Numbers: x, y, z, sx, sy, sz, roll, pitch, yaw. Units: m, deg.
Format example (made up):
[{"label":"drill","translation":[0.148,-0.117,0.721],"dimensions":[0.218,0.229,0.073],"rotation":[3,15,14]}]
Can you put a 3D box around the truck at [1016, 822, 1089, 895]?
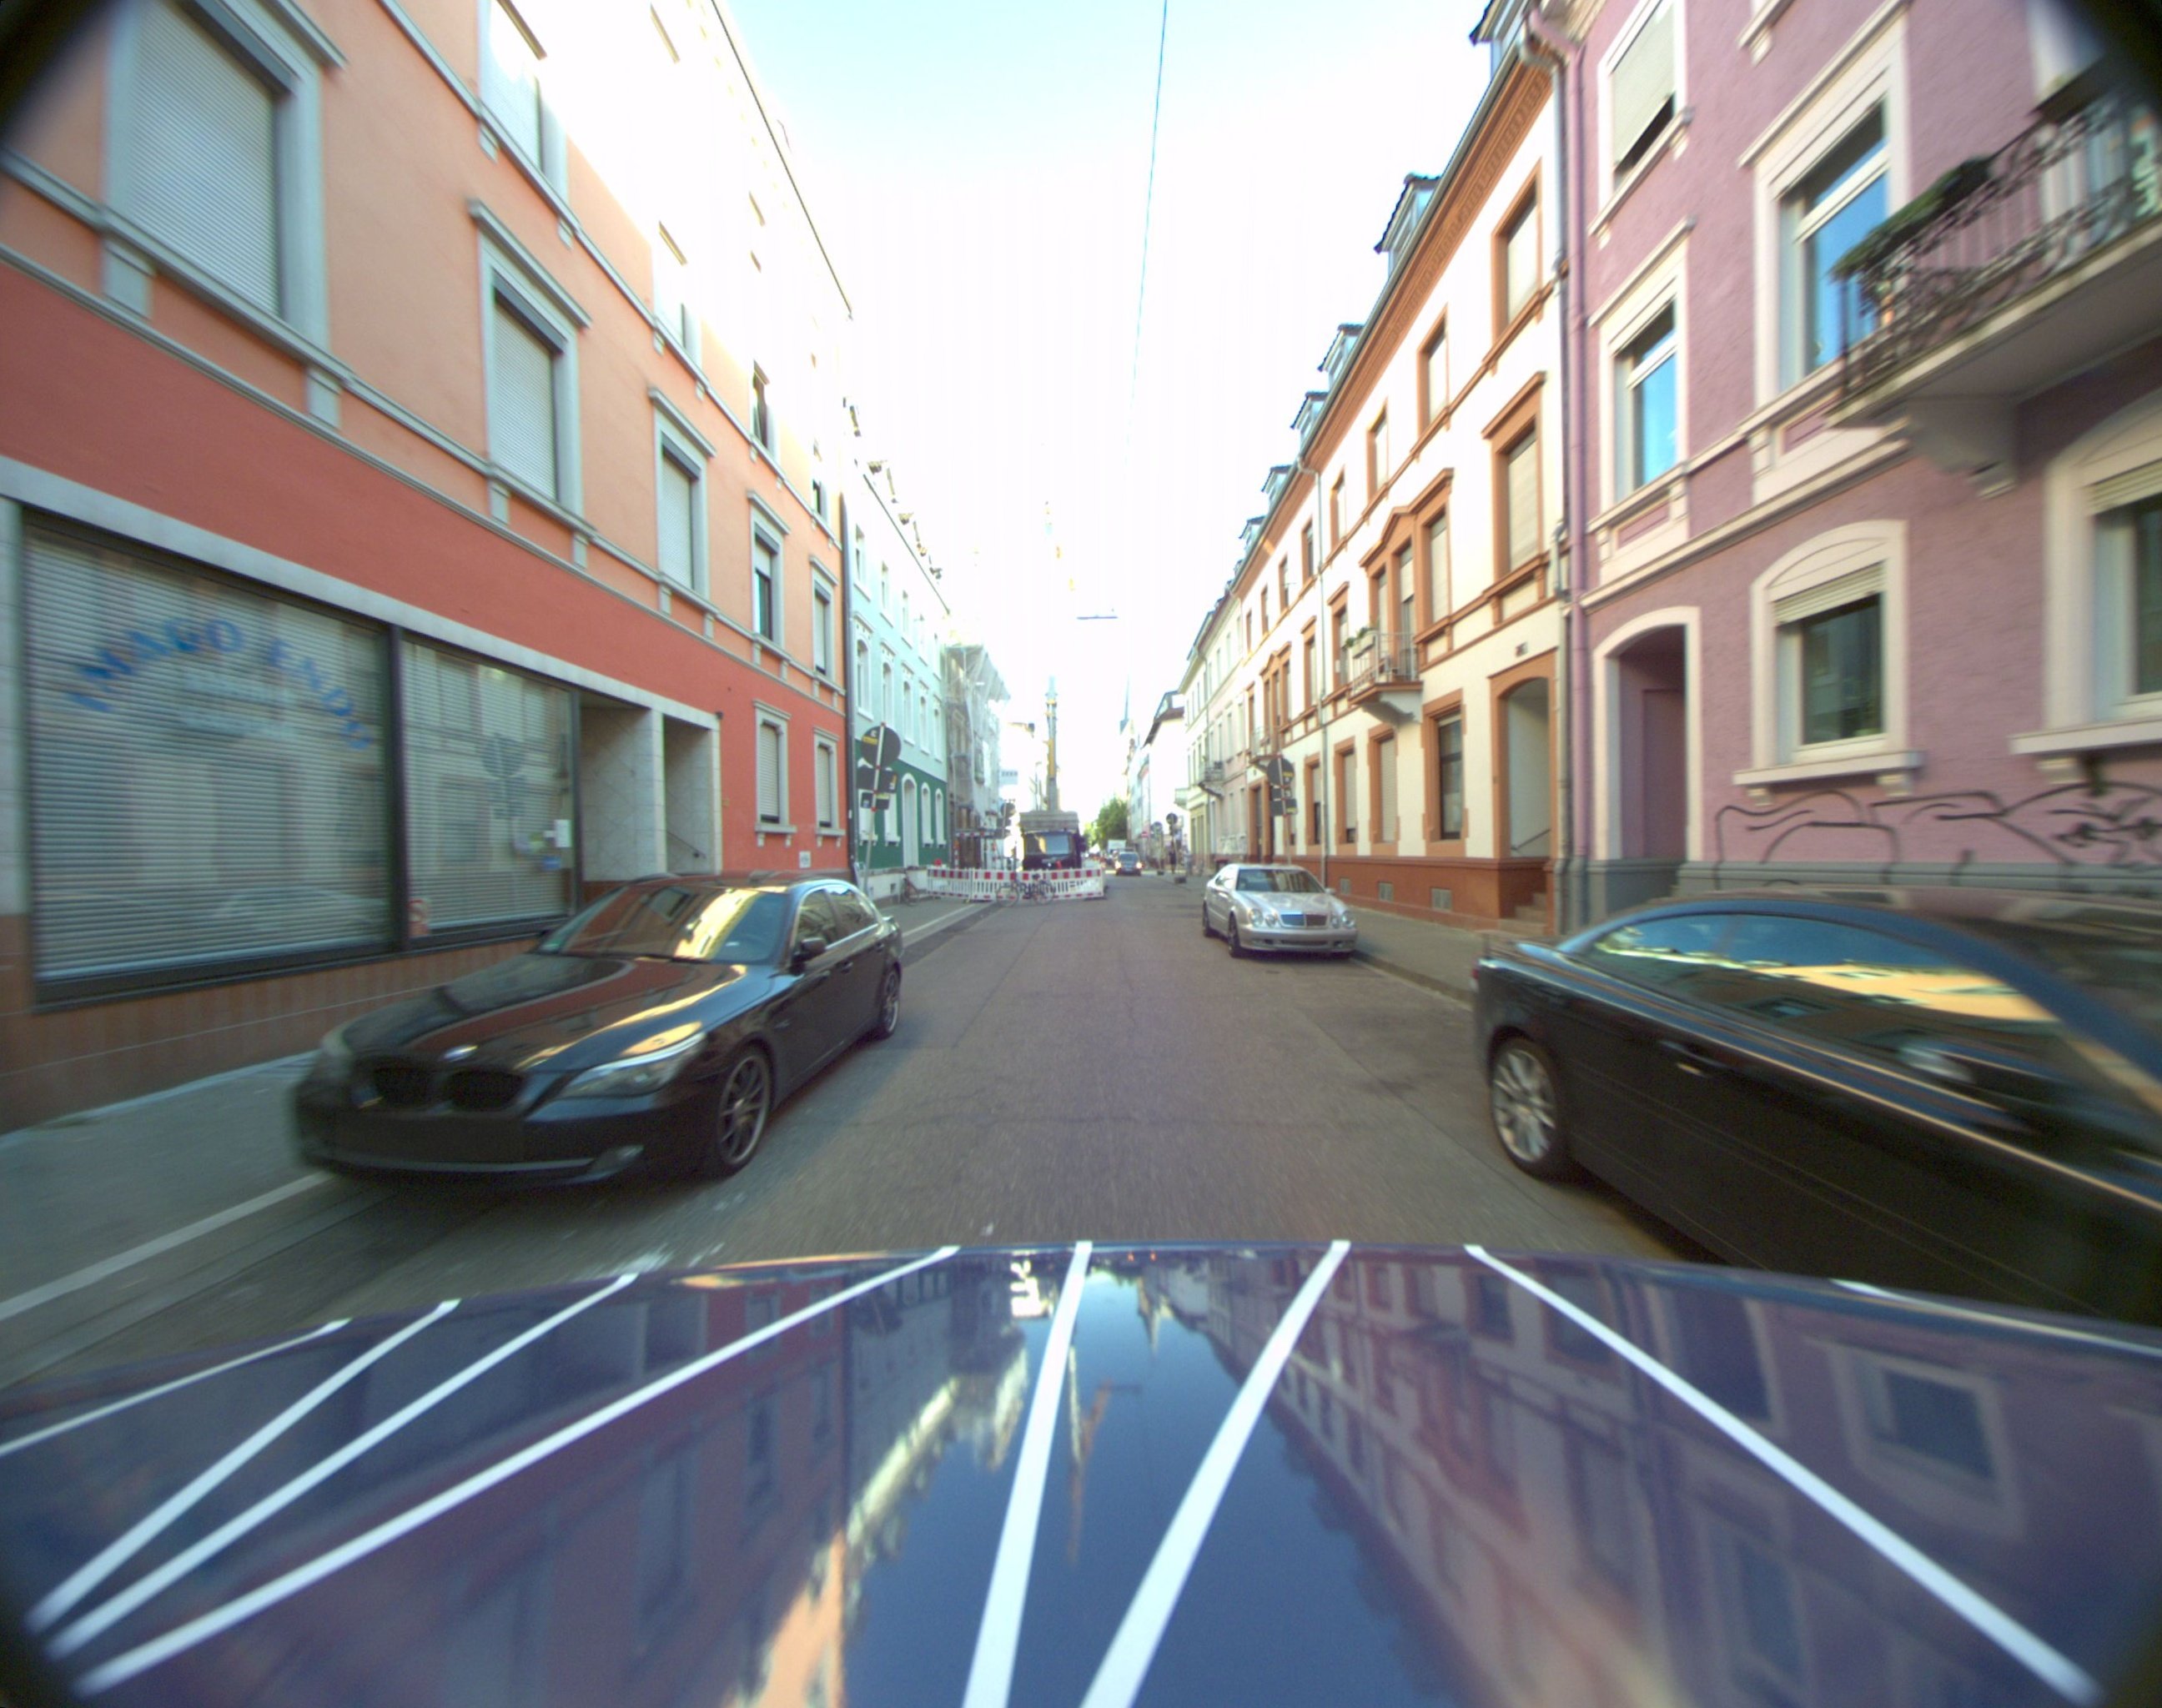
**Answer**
[{"label":"truck","translation":[-1.083,0.120,33.730],"dimensions":[2.668,2.798,7.392],"rotation":[-2,1,2]}]

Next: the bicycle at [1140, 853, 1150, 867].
[{"label":"bicycle","translation":[5.469,0.467,64.741],"dimensions":[0.578,1.132,1.460],"rotation":[-2,1,-4]}]

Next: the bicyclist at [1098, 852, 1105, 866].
[{"label":"bicyclist","translation":[2.196,0.549,83.207],"dimensions":[0.710,1.427,0.790],"rotation":[-1,1,3]}]

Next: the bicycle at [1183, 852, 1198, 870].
[{"label":"bicycle","translation":[6.866,0.458,47.650],"dimensions":[0.605,1.016,1.818],"rotation":[-5,1,2]}]

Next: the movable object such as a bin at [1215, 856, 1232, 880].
[{"label":"movable object such as a bin","translation":[6.412,0.621,34.208],"dimensions":[0.607,1.029,0.596],"rotation":[-2,1,0]}]

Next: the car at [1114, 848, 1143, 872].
[{"label":"car","translation":[3.244,0.399,52.487],"dimensions":[1.726,1.596,4.166],"rotation":[0,0,-1]}]

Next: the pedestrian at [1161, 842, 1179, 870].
[{"label":"pedestrian","translation":[5.660,0.129,48.247],"dimensions":[0.828,1.782,0.989],"rotation":[1,1,-10]}]

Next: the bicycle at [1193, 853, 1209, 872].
[{"label":"bicycle","translation":[6.787,0.482,43.054],"dimensions":[0.623,1.016,1.818],"rotation":[-2,0,2]}]

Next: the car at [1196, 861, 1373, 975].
[{"label":"car","translation":[3.048,0.874,12.377],"dimensions":[1.715,1.375,4.505],"rotation":[1,1,1]}]

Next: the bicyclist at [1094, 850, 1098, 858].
[{"label":"bicyclist","translation":[3.345,-0.031,170.927],"dimensions":[0.716,1.650,0.877],"rotation":[-2,1,-1]}]

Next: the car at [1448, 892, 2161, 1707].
[{"label":"car","translation":[2.796,0.896,2.039],"dimensions":[1.714,1.375,4.357],"rotation":[-1,0,3]}]

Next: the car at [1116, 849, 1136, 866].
[{"label":"car","translation":[4.221,0.296,71.244],"dimensions":[1.681,1.546,3.817],"rotation":[0,1,1]}]

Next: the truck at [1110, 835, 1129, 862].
[{"label":"truck","translation":[4.758,-0.715,95.802],"dimensions":[2.296,3.165,7.044],"rotation":[0,1,2]}]

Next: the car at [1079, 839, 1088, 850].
[{"label":"car","translation":[0.680,-2.379,190.808],"dimensions":[1.999,2.777,4.562],"rotation":[-2,1,-2]}]

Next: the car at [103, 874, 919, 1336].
[{"label":"car","translation":[-2.568,0.972,5.129],"dimensions":[1.821,1.430,4.790],"rotation":[1,1,1]}]

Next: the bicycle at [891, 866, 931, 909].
[{"label":"bicycle","translation":[-4.921,0.951,22.114],"dimensions":[0.656,1.122,1.834],"rotation":[3,1,1]}]

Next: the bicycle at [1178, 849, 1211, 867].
[{"label":"bicycle","translation":[8.915,0.313,59.814],"dimensions":[2.481,1.351,0.928],"rotation":[-1,1,2]}]

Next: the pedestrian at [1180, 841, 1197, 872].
[{"label":"pedestrian","translation":[5.961,0.151,42.257],"dimensions":[0.695,1.691,0.865],"rotation":[-6,-1,1]}]

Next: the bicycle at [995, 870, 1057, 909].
[{"label":"bicycle","translation":[-1.712,1.101,23.657],"dimensions":[1.855,1.104,0.643],"rotation":[-2,1,-6]}]

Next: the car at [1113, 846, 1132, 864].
[{"label":"car","translation":[4.452,0.057,81.483],"dimensions":[1.807,1.834,4.243],"rotation":[0,1,1]}]

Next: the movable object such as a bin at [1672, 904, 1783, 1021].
[{"label":"movable object such as a bin","translation":[5.653,0.935,6.663],"dimensions":[0.545,0.939,0.487],"rotation":[-2,1,2]}]

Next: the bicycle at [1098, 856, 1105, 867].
[{"label":"bicycle","translation":[2.219,0.796,83.233],"dimensions":[0.710,1.105,1.935],"rotation":[-1,1,3]}]

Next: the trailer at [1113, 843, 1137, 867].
[{"label":"trailer","translation":[3.782,0.047,65.993],"dimensions":[1.666,2.049,4.362],"rotation":[0,1,-2]}]
